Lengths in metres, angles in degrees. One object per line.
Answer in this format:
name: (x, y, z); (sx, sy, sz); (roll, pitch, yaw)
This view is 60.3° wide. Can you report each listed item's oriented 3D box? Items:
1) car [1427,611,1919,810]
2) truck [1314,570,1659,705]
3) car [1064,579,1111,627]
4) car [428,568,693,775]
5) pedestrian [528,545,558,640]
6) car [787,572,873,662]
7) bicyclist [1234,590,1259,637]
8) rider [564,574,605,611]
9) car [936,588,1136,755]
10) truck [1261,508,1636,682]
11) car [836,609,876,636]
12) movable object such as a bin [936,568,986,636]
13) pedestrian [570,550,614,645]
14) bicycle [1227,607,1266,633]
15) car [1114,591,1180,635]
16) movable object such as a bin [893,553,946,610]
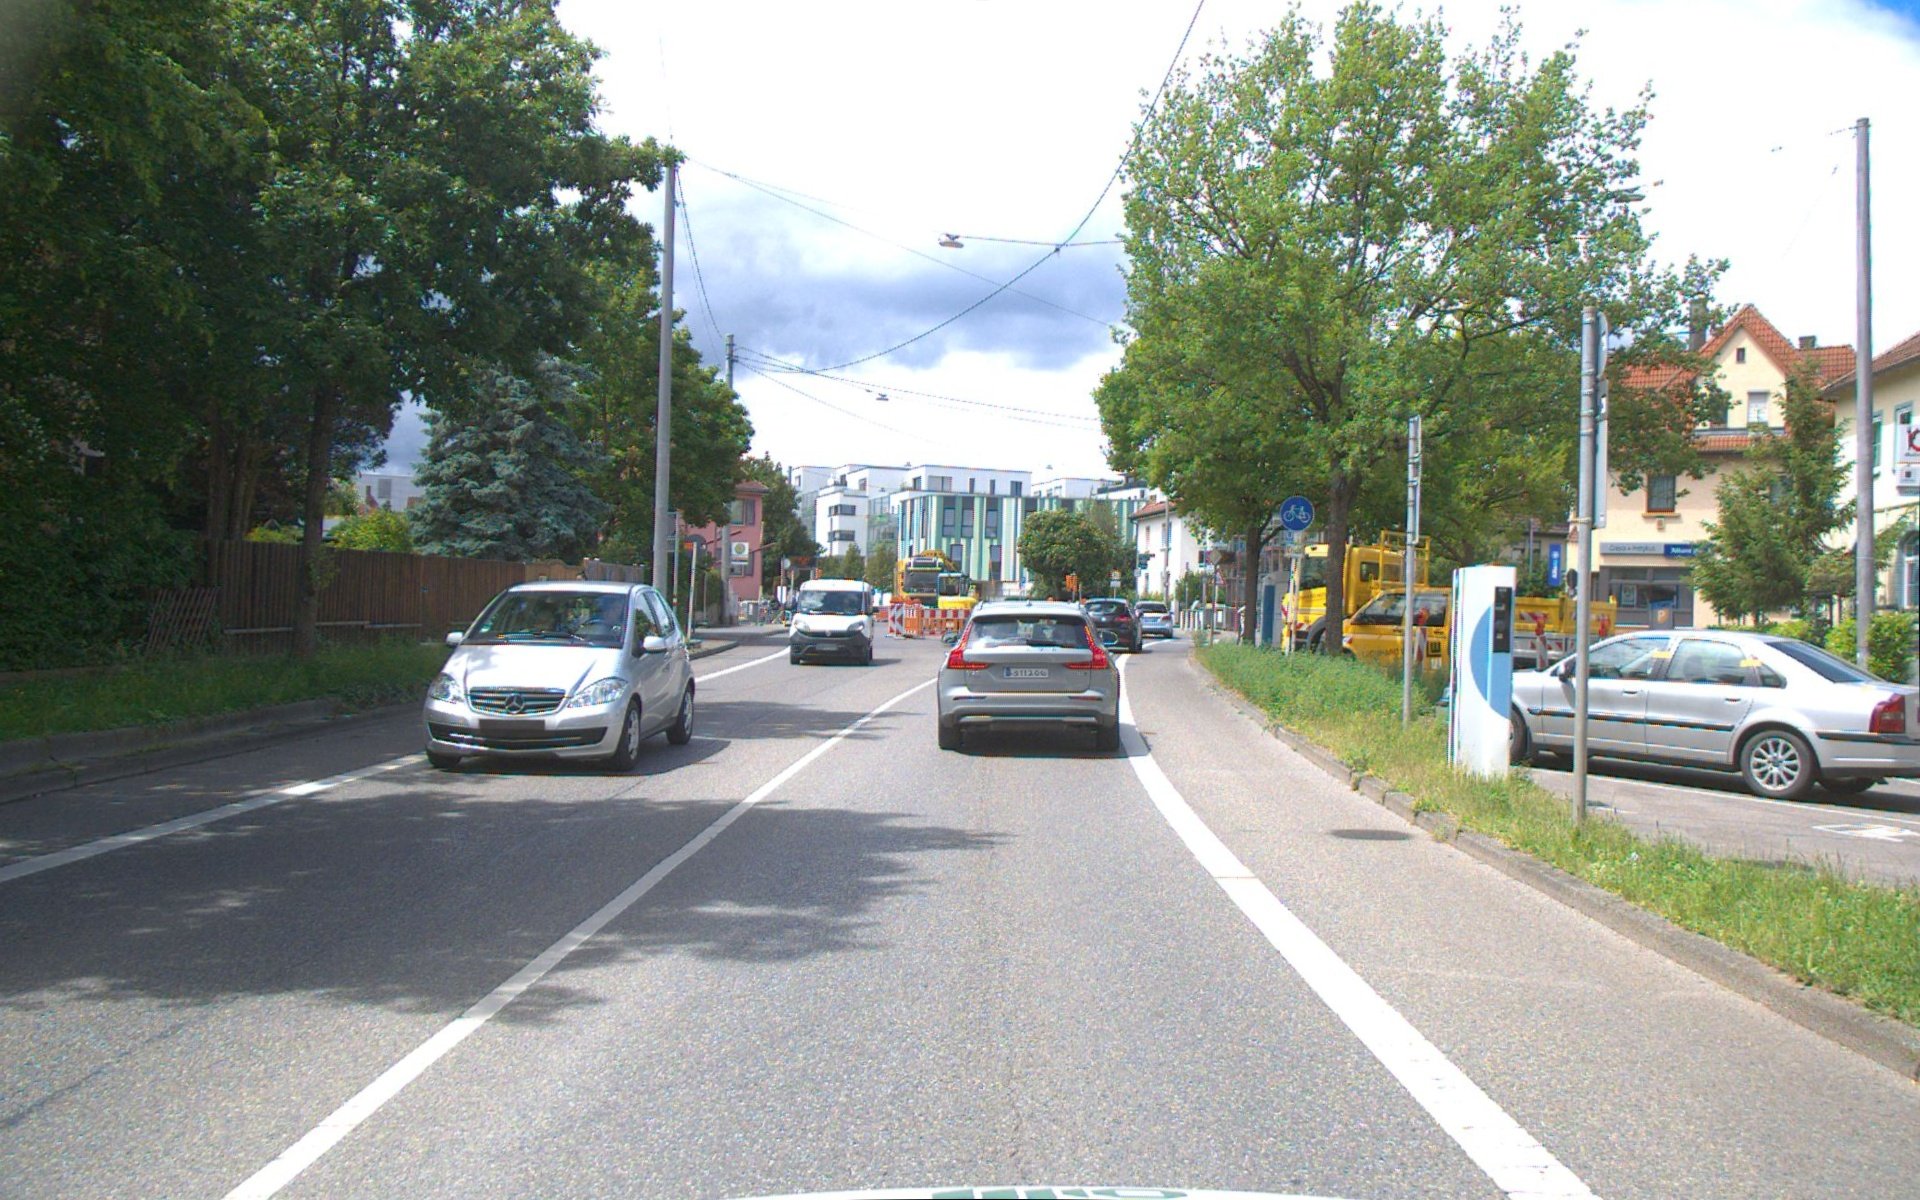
car: (7.044, 0.952, 15.977); (1.754, 1.477, 4.616); (3, 0, -43)
truck: (9.256, 0.611, 29.538); (1.982, 2.049, 5.593); (5, -2, -41)
car: (6.089, 0.160, 78.636); (1.951, 2.049, 4.002); (4, -1, 7)
car: (-3.563, 0.572, 15.441); (1.674, 1.646, 3.997); (1, 0, -3)
pedestrian: (-9.199, -0.162, 36.479); (0.394, 2.049, 0.414); (4, -2, 2)
car: (-2.878, 0.407, 37.270); (1.811, 1.908, 4.590); (0, -1, -3)
bicyclist: (9.864, 0.457, 56.947); (0.579, 1.586, 0.564); (4, -2, -16)
rider: (-8.195, -0.154, 36.137); (0.714, 0.747, 0.690); (4, -2, -2)
car: (0.796, 0.679, 17.655); (1.888, 1.567, 4.001); (0, 0, 2)
truck: (9.645, -0.159, 33.138); (6.595, 3.060, 2.750); (3, -2, 45)
car: (-6.155, 1.373, 98.293); (1.848, 1.534, 4.001); (-1, -2, 4)
movable object such as a bin: (0.033, 0.079, 70.284); (1.993, 2.689, 5.939); (1, 0, 0)
pedestrian: (-8.214, -0.051, 36.931); (0.701, 2.049, 0.771); (4, -2, -2)
bicycle: (9.858, 0.694, 56.888); (0.585, 0.826, 1.746); (4, -1, -16)
car: (7.557, 0.552, 67.287); (2.060, 1.536, 3.999); (6, -1, -1)
movable object such as a bin: (-2.344, -1.014, 93.704); (2.267, 3.042, 6.415); (1, 0, -8)
